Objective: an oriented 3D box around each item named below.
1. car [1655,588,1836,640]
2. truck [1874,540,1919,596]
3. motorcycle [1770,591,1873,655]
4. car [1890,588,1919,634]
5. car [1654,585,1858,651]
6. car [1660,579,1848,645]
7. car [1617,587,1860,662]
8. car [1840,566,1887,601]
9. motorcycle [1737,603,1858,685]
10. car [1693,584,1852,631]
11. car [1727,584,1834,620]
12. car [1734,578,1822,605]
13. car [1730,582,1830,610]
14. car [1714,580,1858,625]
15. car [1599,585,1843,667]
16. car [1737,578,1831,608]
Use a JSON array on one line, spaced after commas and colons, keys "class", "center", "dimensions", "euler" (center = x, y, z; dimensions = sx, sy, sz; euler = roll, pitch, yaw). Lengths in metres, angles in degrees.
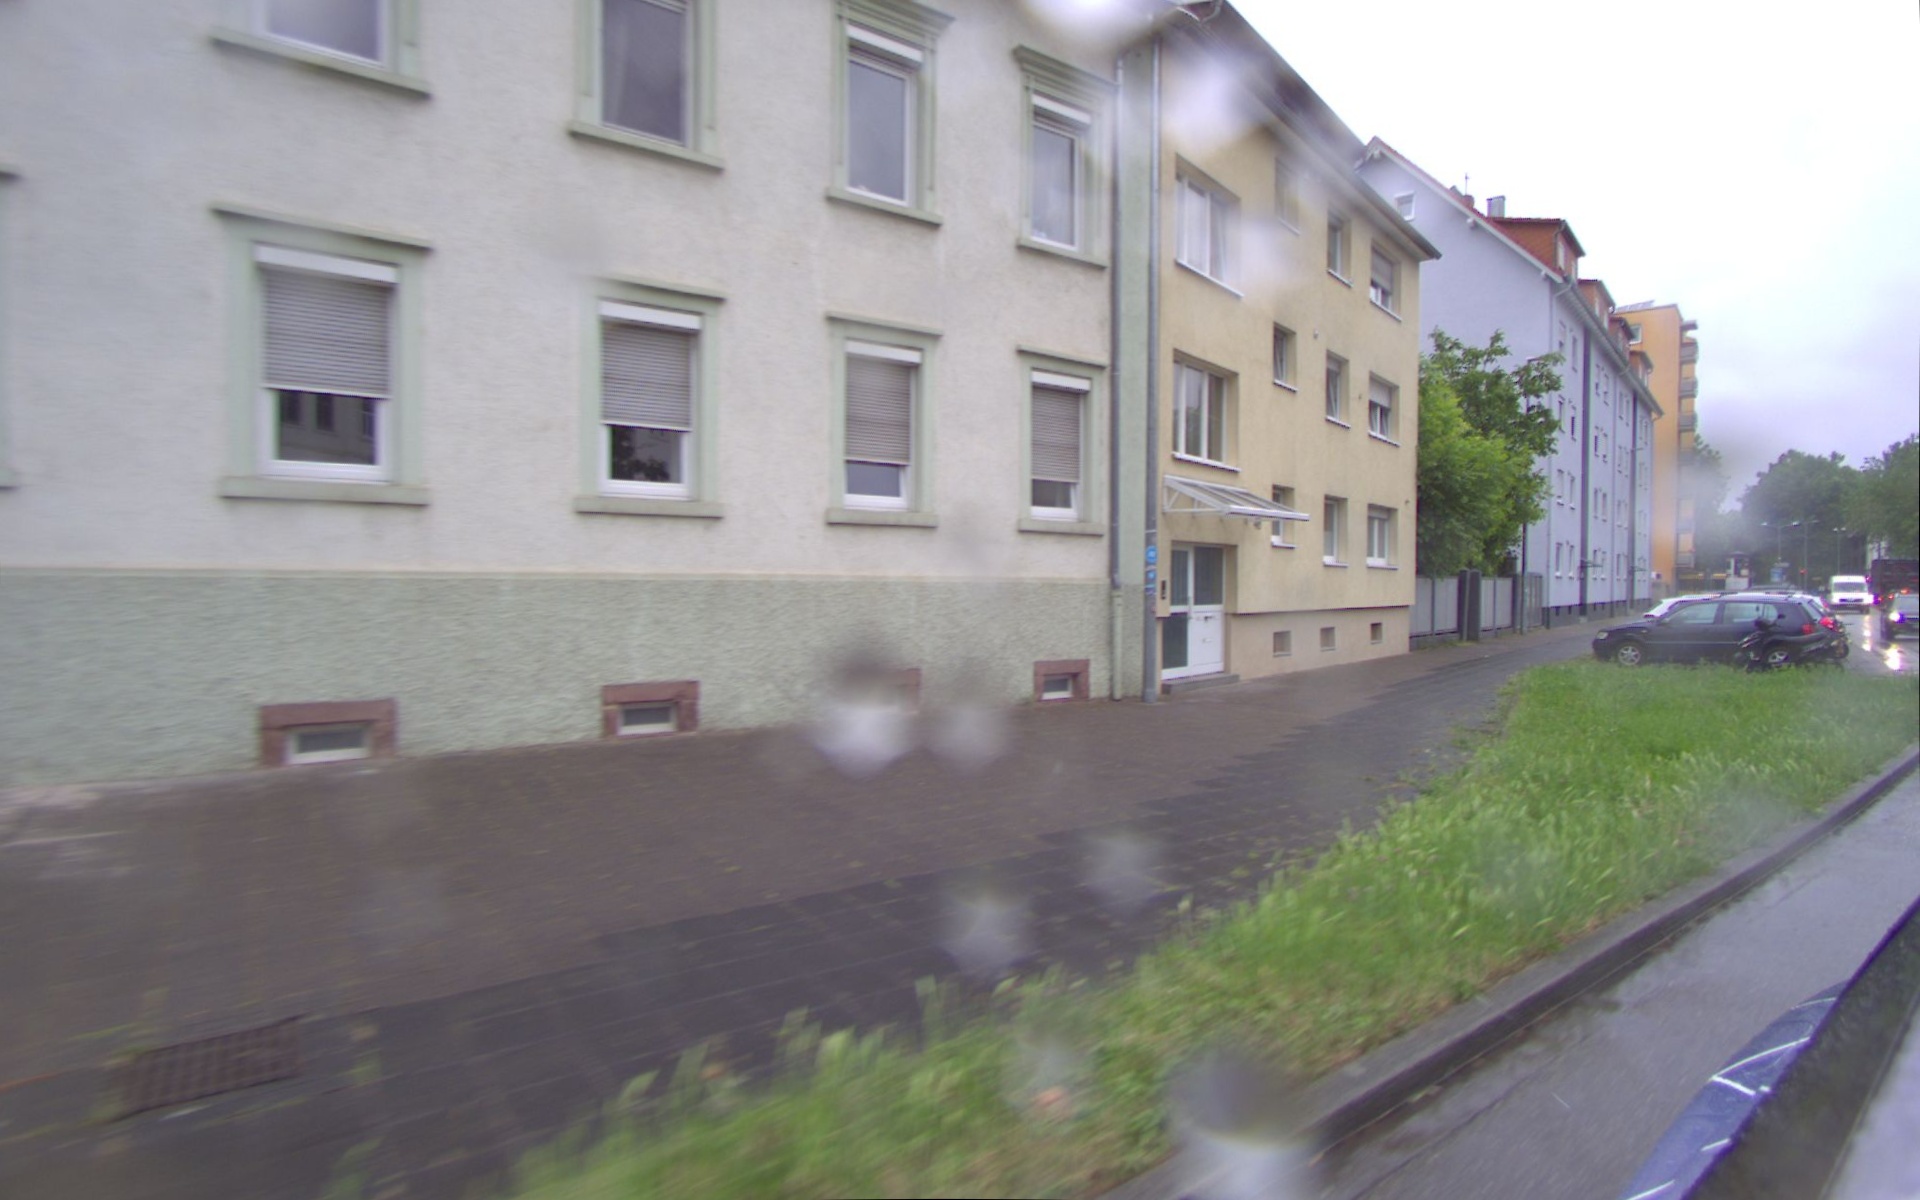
[{"class": "car", "center": [24.478, 0.384, 31.617], "dimensions": [4.374, 1.495, 2.020], "euler": [0, 1, 42]}, {"class": "truck", "center": [79.979, -2.686, 85.438], "dimensions": [3.819, 4.440, 10.629], "euler": [0, 1, 40]}, {"class": "motorcycle", "center": [19.602, 0.503, 23.064], "dimensions": [1.761, 1.390, 0.724], "euler": [0, 1, 42]}, {"class": "car", "center": [32.114, 0.340, 33.370], "dimensions": [1.954, 1.408, 4.114], "euler": [0, 1, 40]}, {"class": "car", "center": [19.915, 0.402, 25.413], "dimensions": [3.911, 1.499, 1.829], "euler": [0, 1, 42]}, {"class": "car", "center": [21.379, 0.283, 27.345], "dimensions": [3.911, 1.635, 1.666], "euler": [0, 1, 42]}, {"class": "car", "center": [16.760, 0.478, 21.928], "dimensions": [4.049, 1.473, 1.905], "euler": [0, -1, 41]}, {"class": "car", "center": [61.068, -1.133, 68.476], "dimensions": [2.186, 2.284, 4.814], "euler": [0, 1, 40]}, {"class": "motorcycle", "center": [14.541, 0.735, 17.605], "dimensions": [1.587, 1.341, 0.685], "euler": [0, 0, 40]}, {"class": "car", "center": [27.695, 0.212, 34.566], "dimensions": [4.158, 1.495, 1.626], "euler": [0, 1, 42]}, {"class": "car", "center": [36.295, 0.077, 44.810], "dimensions": [3.607, 1.506, 1.518], "euler": [0, 1, 42]}, {"class": "car", "center": [50.624, -0.529, 62.655], "dimensions": [4.158, 1.626, 1.626], "euler": [0, 1, 42]}, {"class": "car", "center": [44.377, -0.226, 54.812], "dimensions": [4.158, 1.471, 1.626], "euler": [0, 1, 42]}, {"class": "car", "center": [31.236, 0.077, 38.364], "dimensions": [4.158, 1.589, 1.626], "euler": [0, 1, 42]}, {"class": "car", "center": [14.990, 0.469, 20.055], "dimensions": [3.747, 1.473, 1.774], "euler": [0, -1, 41]}, {"class": "car", "center": [47.517, -0.409, 58.427], "dimensions": [4.158, 1.626, 1.626], "euler": [0, 1, 42]}]
